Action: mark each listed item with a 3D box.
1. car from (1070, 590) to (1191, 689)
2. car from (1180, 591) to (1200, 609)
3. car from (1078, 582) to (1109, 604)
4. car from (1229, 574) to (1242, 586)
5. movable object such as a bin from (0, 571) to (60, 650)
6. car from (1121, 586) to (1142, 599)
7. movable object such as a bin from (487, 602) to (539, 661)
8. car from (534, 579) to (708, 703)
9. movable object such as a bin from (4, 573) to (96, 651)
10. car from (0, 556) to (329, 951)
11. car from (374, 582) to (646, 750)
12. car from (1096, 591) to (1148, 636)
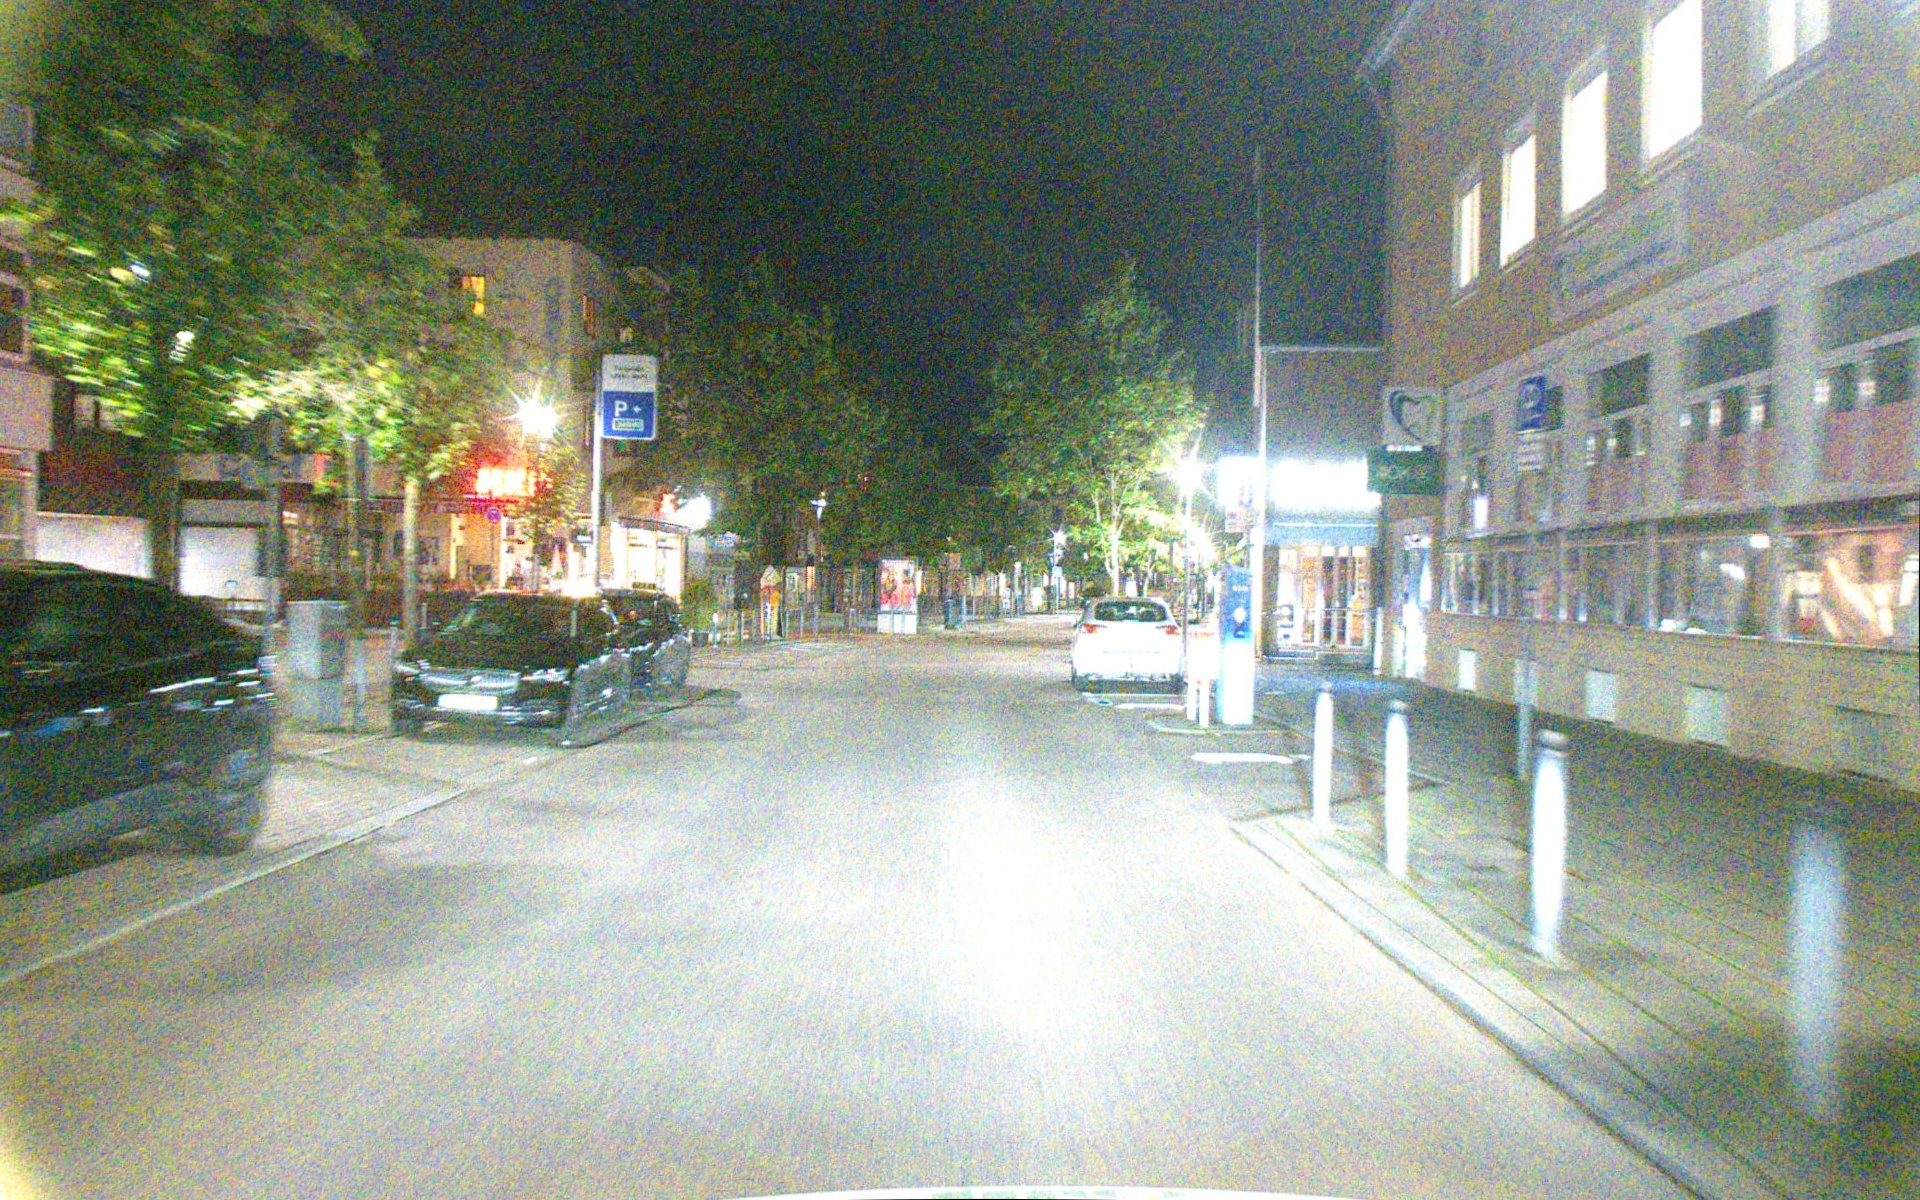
[{"bbox_3d":[2.755,0.628,27.587,1.706,1.513,4.637,0,-1,2],"label":"car"},{"bbox_3d":[19.221,0.013,138.442,1.639,1.485,3.679,0,1,8],"label":"car"},{"bbox_3d":[10.869,-0.604,134.692,1.975,1.720,5.007,2,1,11],"label":"car"},{"bbox_3d":[39.819,-2.863,238.790,1.737,1.681,4.368,0,1,11],"label":"car"},{"bbox_3d":[-18.130,0.196,31.671,1.015,1.469,1.286,1,-1,1],"label":"movable object such as a bin"},{"bbox_3d":[19.498,-0.865,188.088,1.873,1.394,4.462,0,2,12],"label":"car"},{"bbox_3d":[-8.230,0.578,30.456,0.731,1.083,0.792,0,-1,-1],"label":"movable object such as a bin"},{"bbox_3d":[-4.940,0.535,24.736,1.723,1.666,4.814,0,0,-1],"label":"car"},{"bbox_3d":[-18.123,0.241,32.975,1.107,1.483,1.228,1,-1,1],"label":"movable object such as a bin"},{"bbox_3d":[-4.726,0.600,7.718,1.734,1.601,4.483,2,0,1],"label":"car"},{"bbox_3d":[-4.753,0.612,18.217,1.867,1.568,4.779,1,0,-3],"label":"car"},{"bbox_3d":[5.561,0.429,57.109,1.698,1.466,4.499,0,1,5],"label":"car"}]
